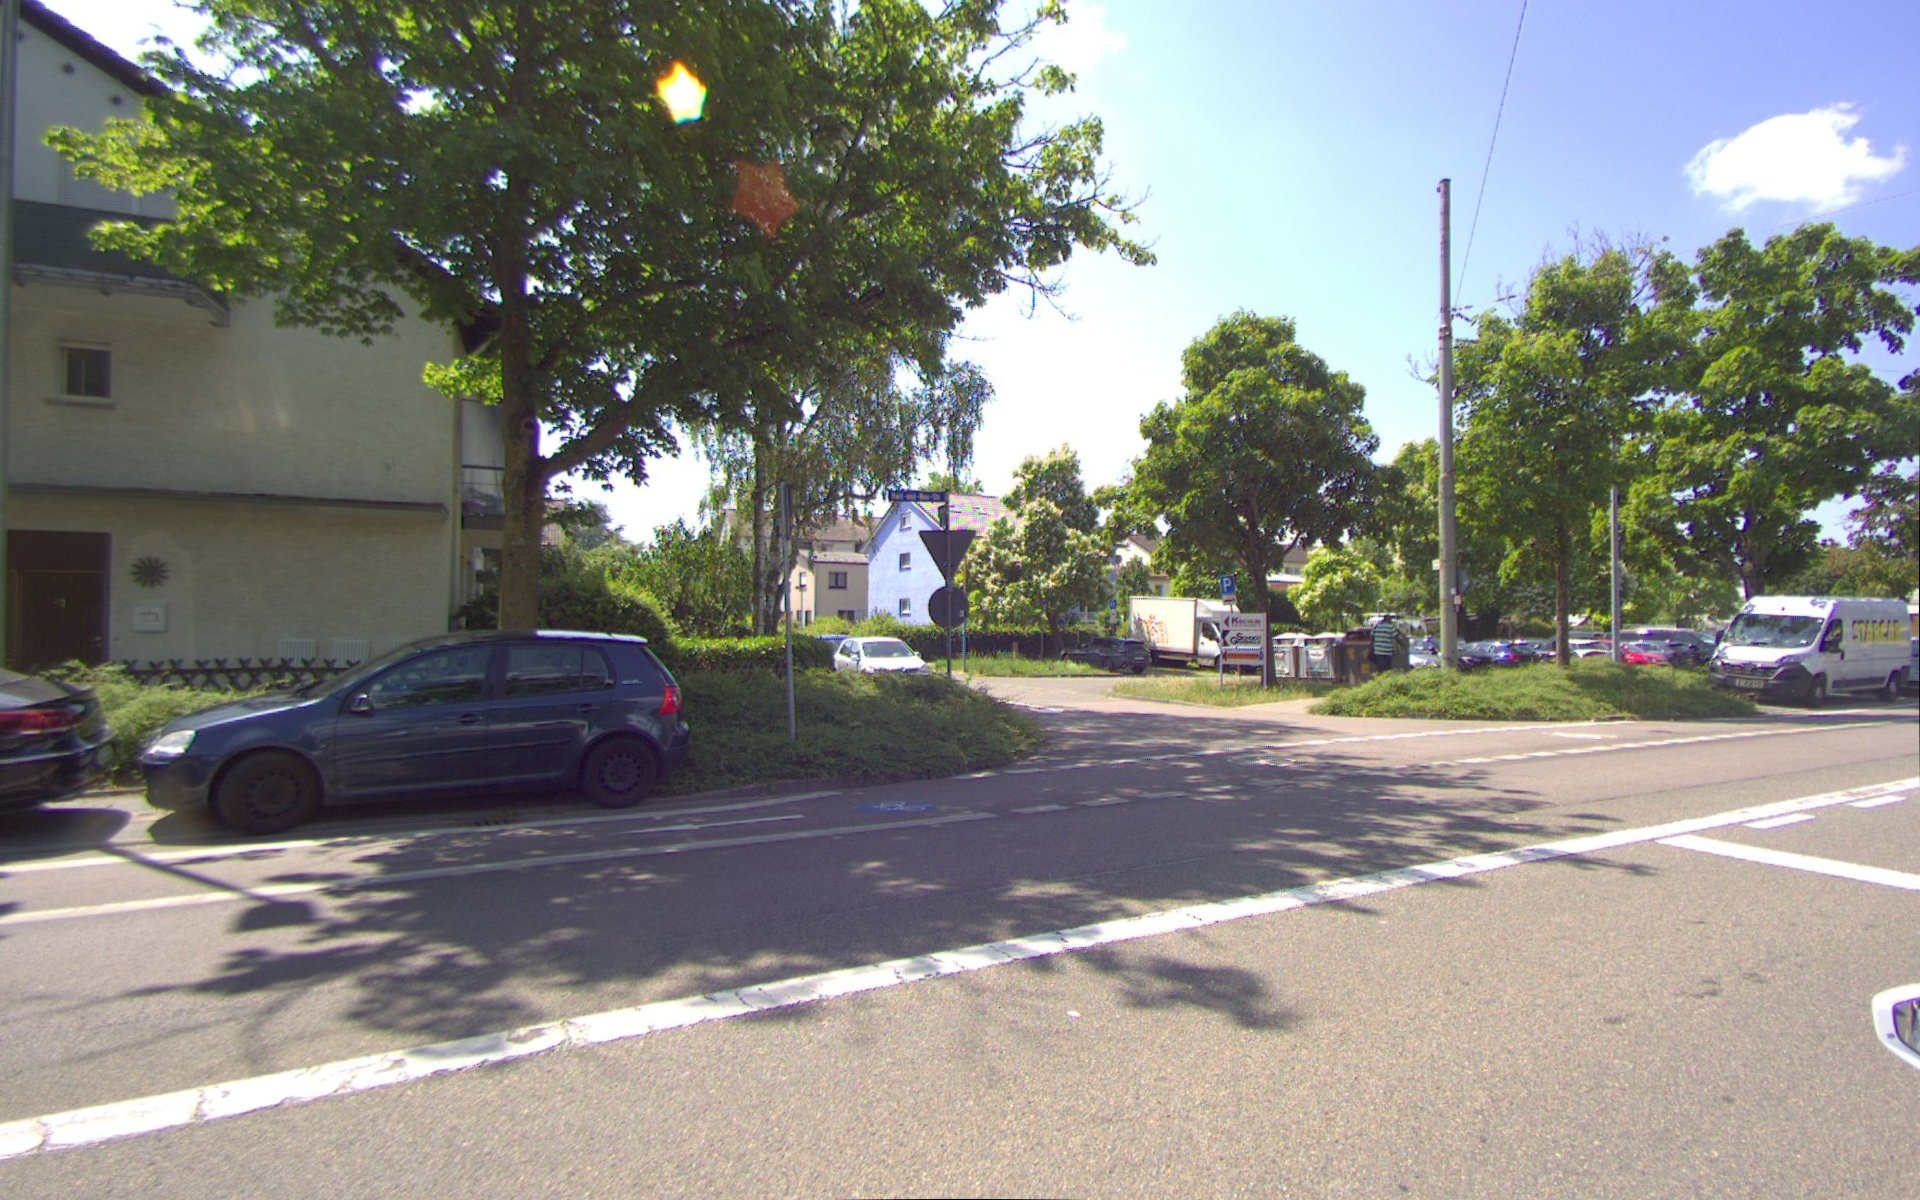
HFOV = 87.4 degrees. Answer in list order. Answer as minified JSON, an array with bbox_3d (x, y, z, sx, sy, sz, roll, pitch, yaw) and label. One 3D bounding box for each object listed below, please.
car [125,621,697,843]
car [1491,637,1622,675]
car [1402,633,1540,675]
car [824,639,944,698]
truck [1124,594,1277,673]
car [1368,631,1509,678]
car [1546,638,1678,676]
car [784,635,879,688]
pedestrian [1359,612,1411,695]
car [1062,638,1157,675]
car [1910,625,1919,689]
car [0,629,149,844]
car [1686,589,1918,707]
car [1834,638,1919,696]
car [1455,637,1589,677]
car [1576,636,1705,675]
[{"bbox_3d":[-4.546,0.980,8.805,4.001,1.500,1.766,1,0,-31],"label":"car"},{"bbox_3d":[22.804,2.117,38.530,1.785,1.357,3.967,1,-2,-31],"label":"car"},{"bbox_3d":[17.794,1.856,35.154,1.785,1.357,3.967,1,-2,-31],"label":"car"},{"bbox_3d":[-2.093,1.754,26.606,1.788,1.376,3.973,1,-2,-27],"label":"car"},{"bbox_3d":[10.627,1.504,45.104,2.307,3.270,7.148,1,-2,-32],"label":"truck"},{"bbox_3d":[15.920,1.771,33.606,1.785,1.461,3.967,1,-2,-31],"label":"car"},{"bbox_3d":[25.359,2.198,39.215,1.785,1.357,3.967,1,-2,-31],"label":"car"},{"bbox_3d":[-4.115,1.890,31.674,1.788,1.536,3.973,1,-2,-27],"label":"car"},{"bbox_3d":[9.782,1.213,23.094,0.961,1.847,0.792,-1,-2,35],"label":"pedestrian"},{"bbox_3d":[6.113,2.312,41.468,1.753,1.417,3.966,1,-2,-32],"label":"car"},{"bbox_3d":[31.158,1.752,30.787,4.221,1.920,1.860,1,-2,-30],"label":"car"},{"bbox_3d":[-8.467,0.914,6.617,4.646,1.391,1.764,1,0,-33],"label":"car"},{"bbox_3d":[20.409,1.099,24.278,6.116,2.520,2.147,1,1,-29],"label":"car"},{"bbox_3d":[25.839,1.774,27.318,4.292,1.456,1.860,1,-2,-30],"label":"car"},{"bbox_3d":[20.653,2.049,37.041,1.785,1.357,3.967,1,-2,-31],"label":"car"},{"bbox_3d":[27.447,2.211,40.654,1.784,1.461,3.968,1,-2,-31],"label":"car"}]
